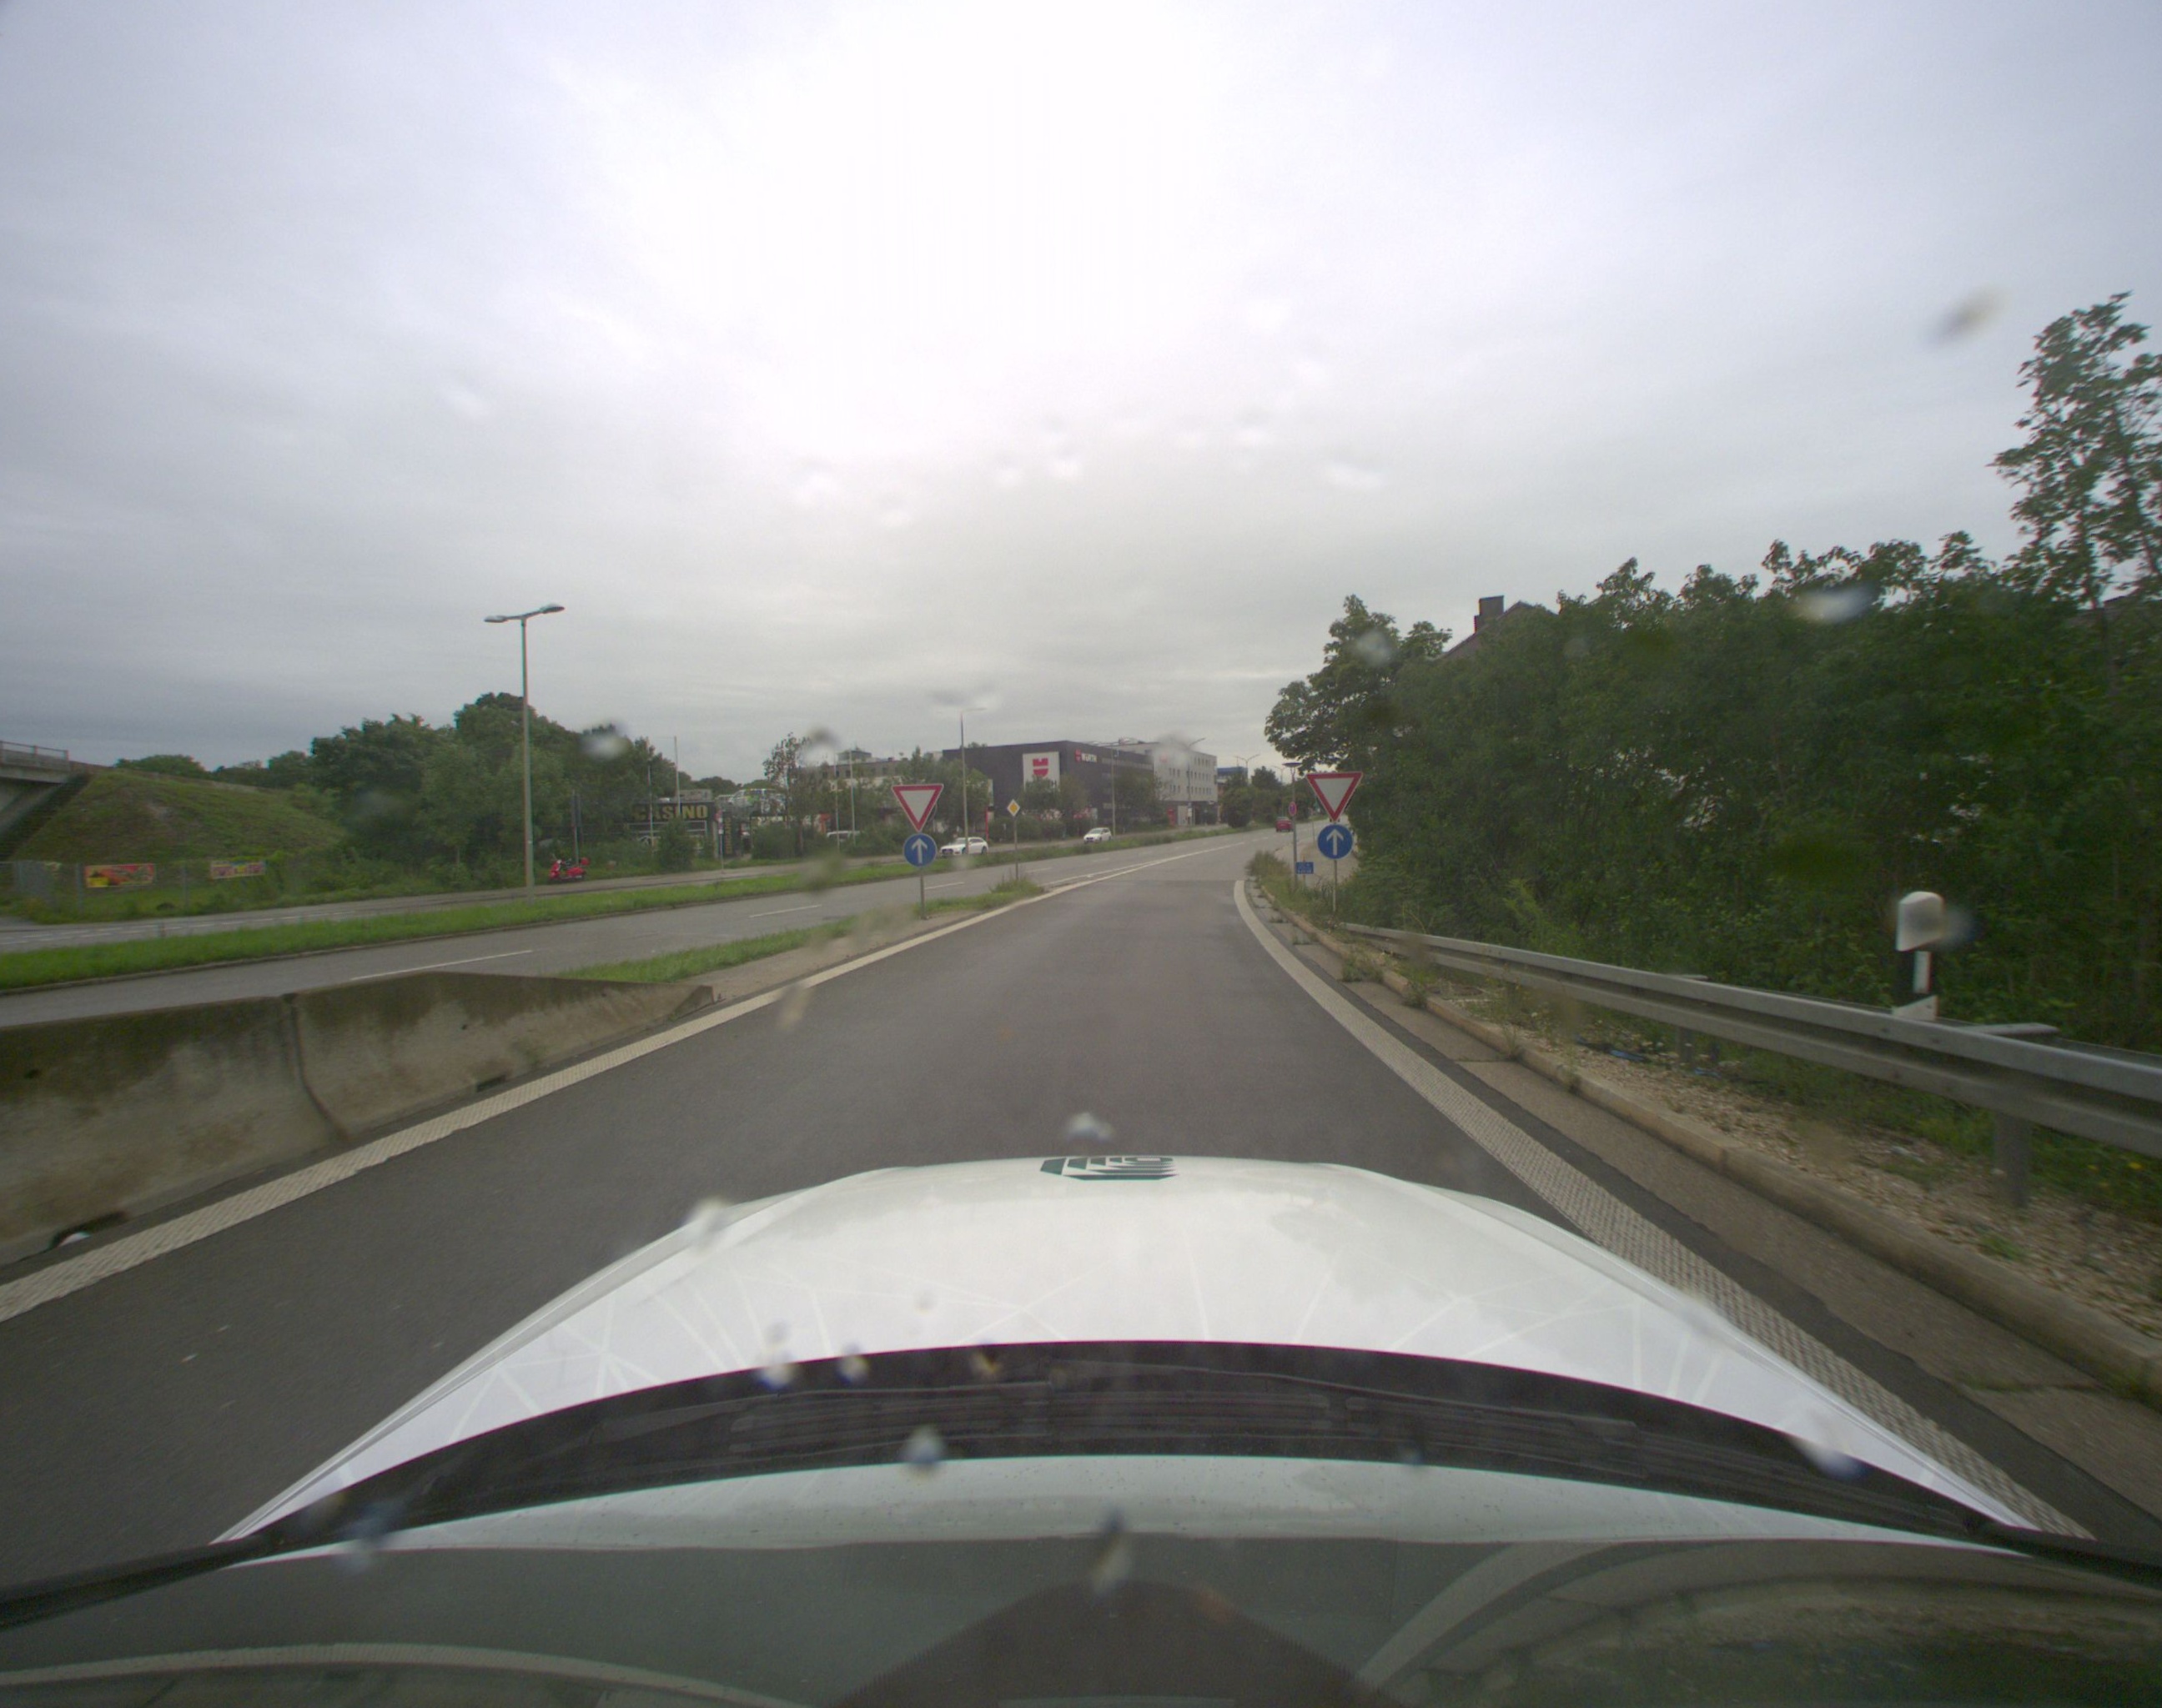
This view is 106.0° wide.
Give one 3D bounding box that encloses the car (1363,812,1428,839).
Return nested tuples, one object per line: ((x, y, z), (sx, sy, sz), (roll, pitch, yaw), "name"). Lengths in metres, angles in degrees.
((21.337, -1.937, 55.338), (4.061, 1.725, 1.937), (-1, 3, 21), "car")

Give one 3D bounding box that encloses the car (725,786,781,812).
((-31.334, -5.196, 77.736), (4.740, 2.014, 2.147), (-3, -1, 23), "car")

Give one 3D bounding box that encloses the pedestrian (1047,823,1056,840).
((-3.238, -2.509, 89.542), (0.617, 1.829, 0.822), (-1, 3, 23), "pedestrian")

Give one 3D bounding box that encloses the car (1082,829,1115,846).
((1.893, -1.787, 86.489), (1.976, 1.572, 4.600), (-2, 2, 23), "car")

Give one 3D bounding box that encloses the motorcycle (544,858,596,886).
((-24.883, 0.856, 39.699), (0.529, 1.176, 2.208), (-1, 2, 22), "motorcycle")

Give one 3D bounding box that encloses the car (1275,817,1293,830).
((26.107, -3.948, 104.787), (1.846, 1.617, 4.021), (-1, 3, 20), "car")

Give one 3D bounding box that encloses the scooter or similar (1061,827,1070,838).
((-1.792, -2.457, 94.164), (0.441, 1.227, 1.395), (-1, 3, 21), "scooter or similar")

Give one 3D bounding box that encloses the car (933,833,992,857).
((-8.906, -0.733, 61.874), (1.976, 1.572, 5.148), (-2, 2, 23), "car")

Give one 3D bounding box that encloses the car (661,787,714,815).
((-40.174, -5.343, 83.123), (4.740, 2.369, 2.147), (-3, -1, 23), "car")
